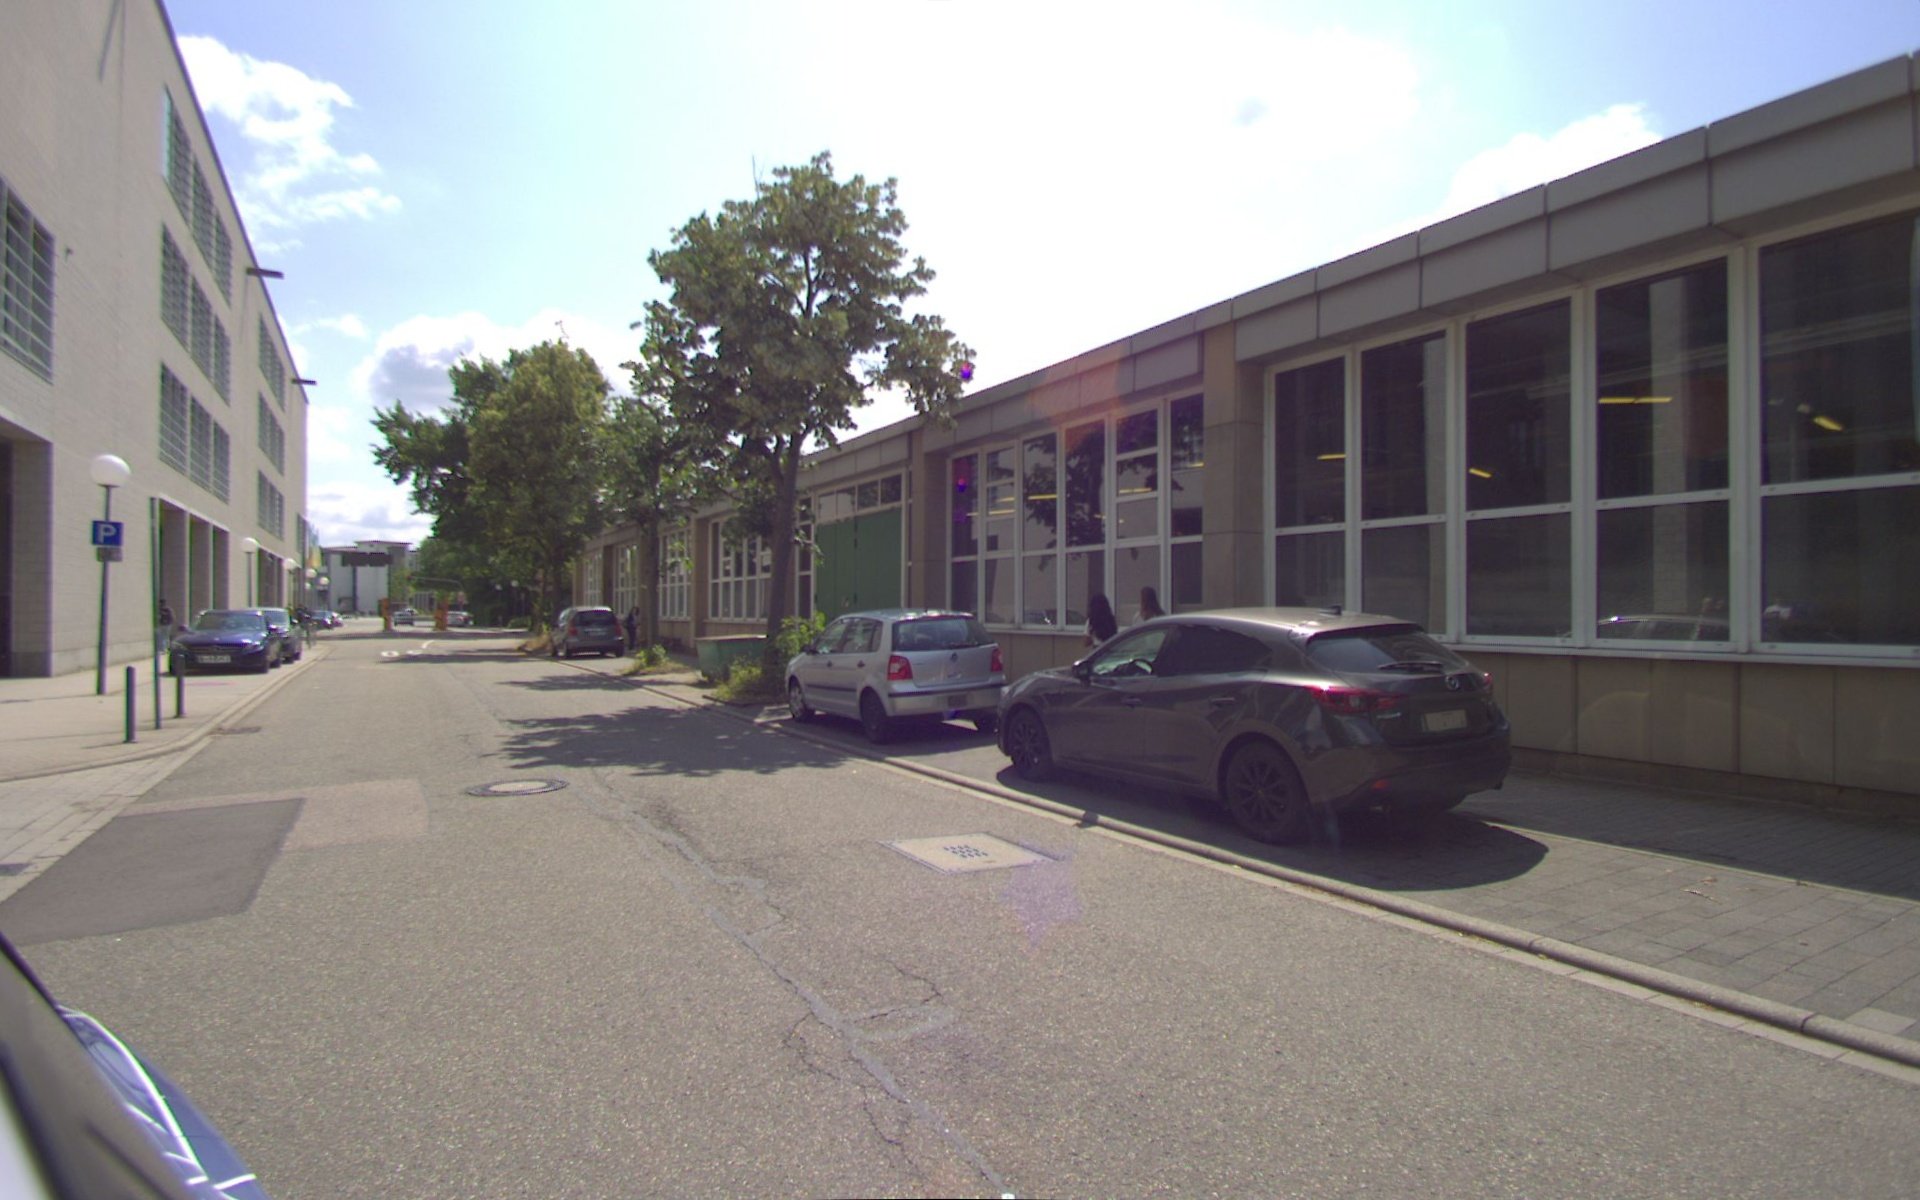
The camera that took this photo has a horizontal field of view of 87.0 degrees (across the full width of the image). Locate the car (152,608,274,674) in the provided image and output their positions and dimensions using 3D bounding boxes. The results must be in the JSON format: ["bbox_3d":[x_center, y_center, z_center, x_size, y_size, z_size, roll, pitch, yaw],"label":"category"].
[{"bbox_3d":[-17.343,0.949,23.674,1.812,1.409,3.889,2,-2,-30],"label":"car"}]

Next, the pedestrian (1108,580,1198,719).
[{"bbox_3d":[2.262,0.559,11.878,0.653,1.553,0.799,0,-1,-37],"label":"pedestrian"}]

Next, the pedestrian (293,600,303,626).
[{"bbox_3d":[-41.878,0.830,64.018,0.376,1.642,0.521,3,-3,-29],"label":"pedestrian"}]

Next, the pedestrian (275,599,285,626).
[{"bbox_3d":[-42.705,0.781,63.558,0.434,1.642,0.571,3,-3,-29],"label":"pedestrian"}]

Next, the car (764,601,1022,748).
[{"bbox_3d":[-0.983,0.788,12.529,1.607,1.460,3.764,-3,1,-31],"label":"car"}]

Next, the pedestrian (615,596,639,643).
[{"bbox_3d":[-11.300,0.670,34.345,0.597,1.593,0.551,1,-2,1],"label":"pedestrian"}]

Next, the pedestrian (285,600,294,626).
[{"bbox_3d":[-42.257,0.806,63.800,0.376,1.642,0.521,3,-3,-29],"label":"pedestrian"}]

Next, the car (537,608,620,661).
[{"bbox_3d":[-12.070,1.036,31.899,1.774,1.460,3.687,-3,1,-31],"label":"car"}]

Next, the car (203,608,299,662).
[{"bbox_3d":[-19.893,0.993,28.525,1.812,1.409,3.889,2,-2,-30],"label":"car"}]

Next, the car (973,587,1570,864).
[{"bbox_3d":[1.965,0.713,7.744,1.701,1.446,4.302,-2,0,-31],"label":"car"}]

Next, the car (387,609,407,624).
[{"bbox_3d":[-60.313,1.738,108.416,1.774,1.460,3.687,-3,1,-30],"label":"car"}]

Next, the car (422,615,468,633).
[{"bbox_3d":[-47.110,2.198,92.608,3.614,1.460,1.810,-3,1,-32],"label":"car"}]

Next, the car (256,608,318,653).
[{"bbox_3d":[-27.457,1.247,41.389,1.769,1.714,4.012,3,-3,-30],"label":"car"}]

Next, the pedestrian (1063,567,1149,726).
[{"bbox_3d":[1.672,0.514,11.633,0.591,1.741,0.799,0,-1,-37],"label":"pedestrian"}]

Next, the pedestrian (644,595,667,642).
[{"bbox_3d":[-10.465,0.630,34.783,0.595,1.593,0.553,3,-3,-32],"label":"pedestrian"}]

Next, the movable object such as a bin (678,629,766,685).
[{"bbox_3d":[-4.819,1.116,20.415,1.274,0.992,1.701,-2,0,-29],"label":"movable object such as a bin"}]

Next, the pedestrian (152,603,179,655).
[{"bbox_3d":[-24.703,0.898,31.458,0.542,1.593,0.607,3,-3,-33],"label":"pedestrian"}]
